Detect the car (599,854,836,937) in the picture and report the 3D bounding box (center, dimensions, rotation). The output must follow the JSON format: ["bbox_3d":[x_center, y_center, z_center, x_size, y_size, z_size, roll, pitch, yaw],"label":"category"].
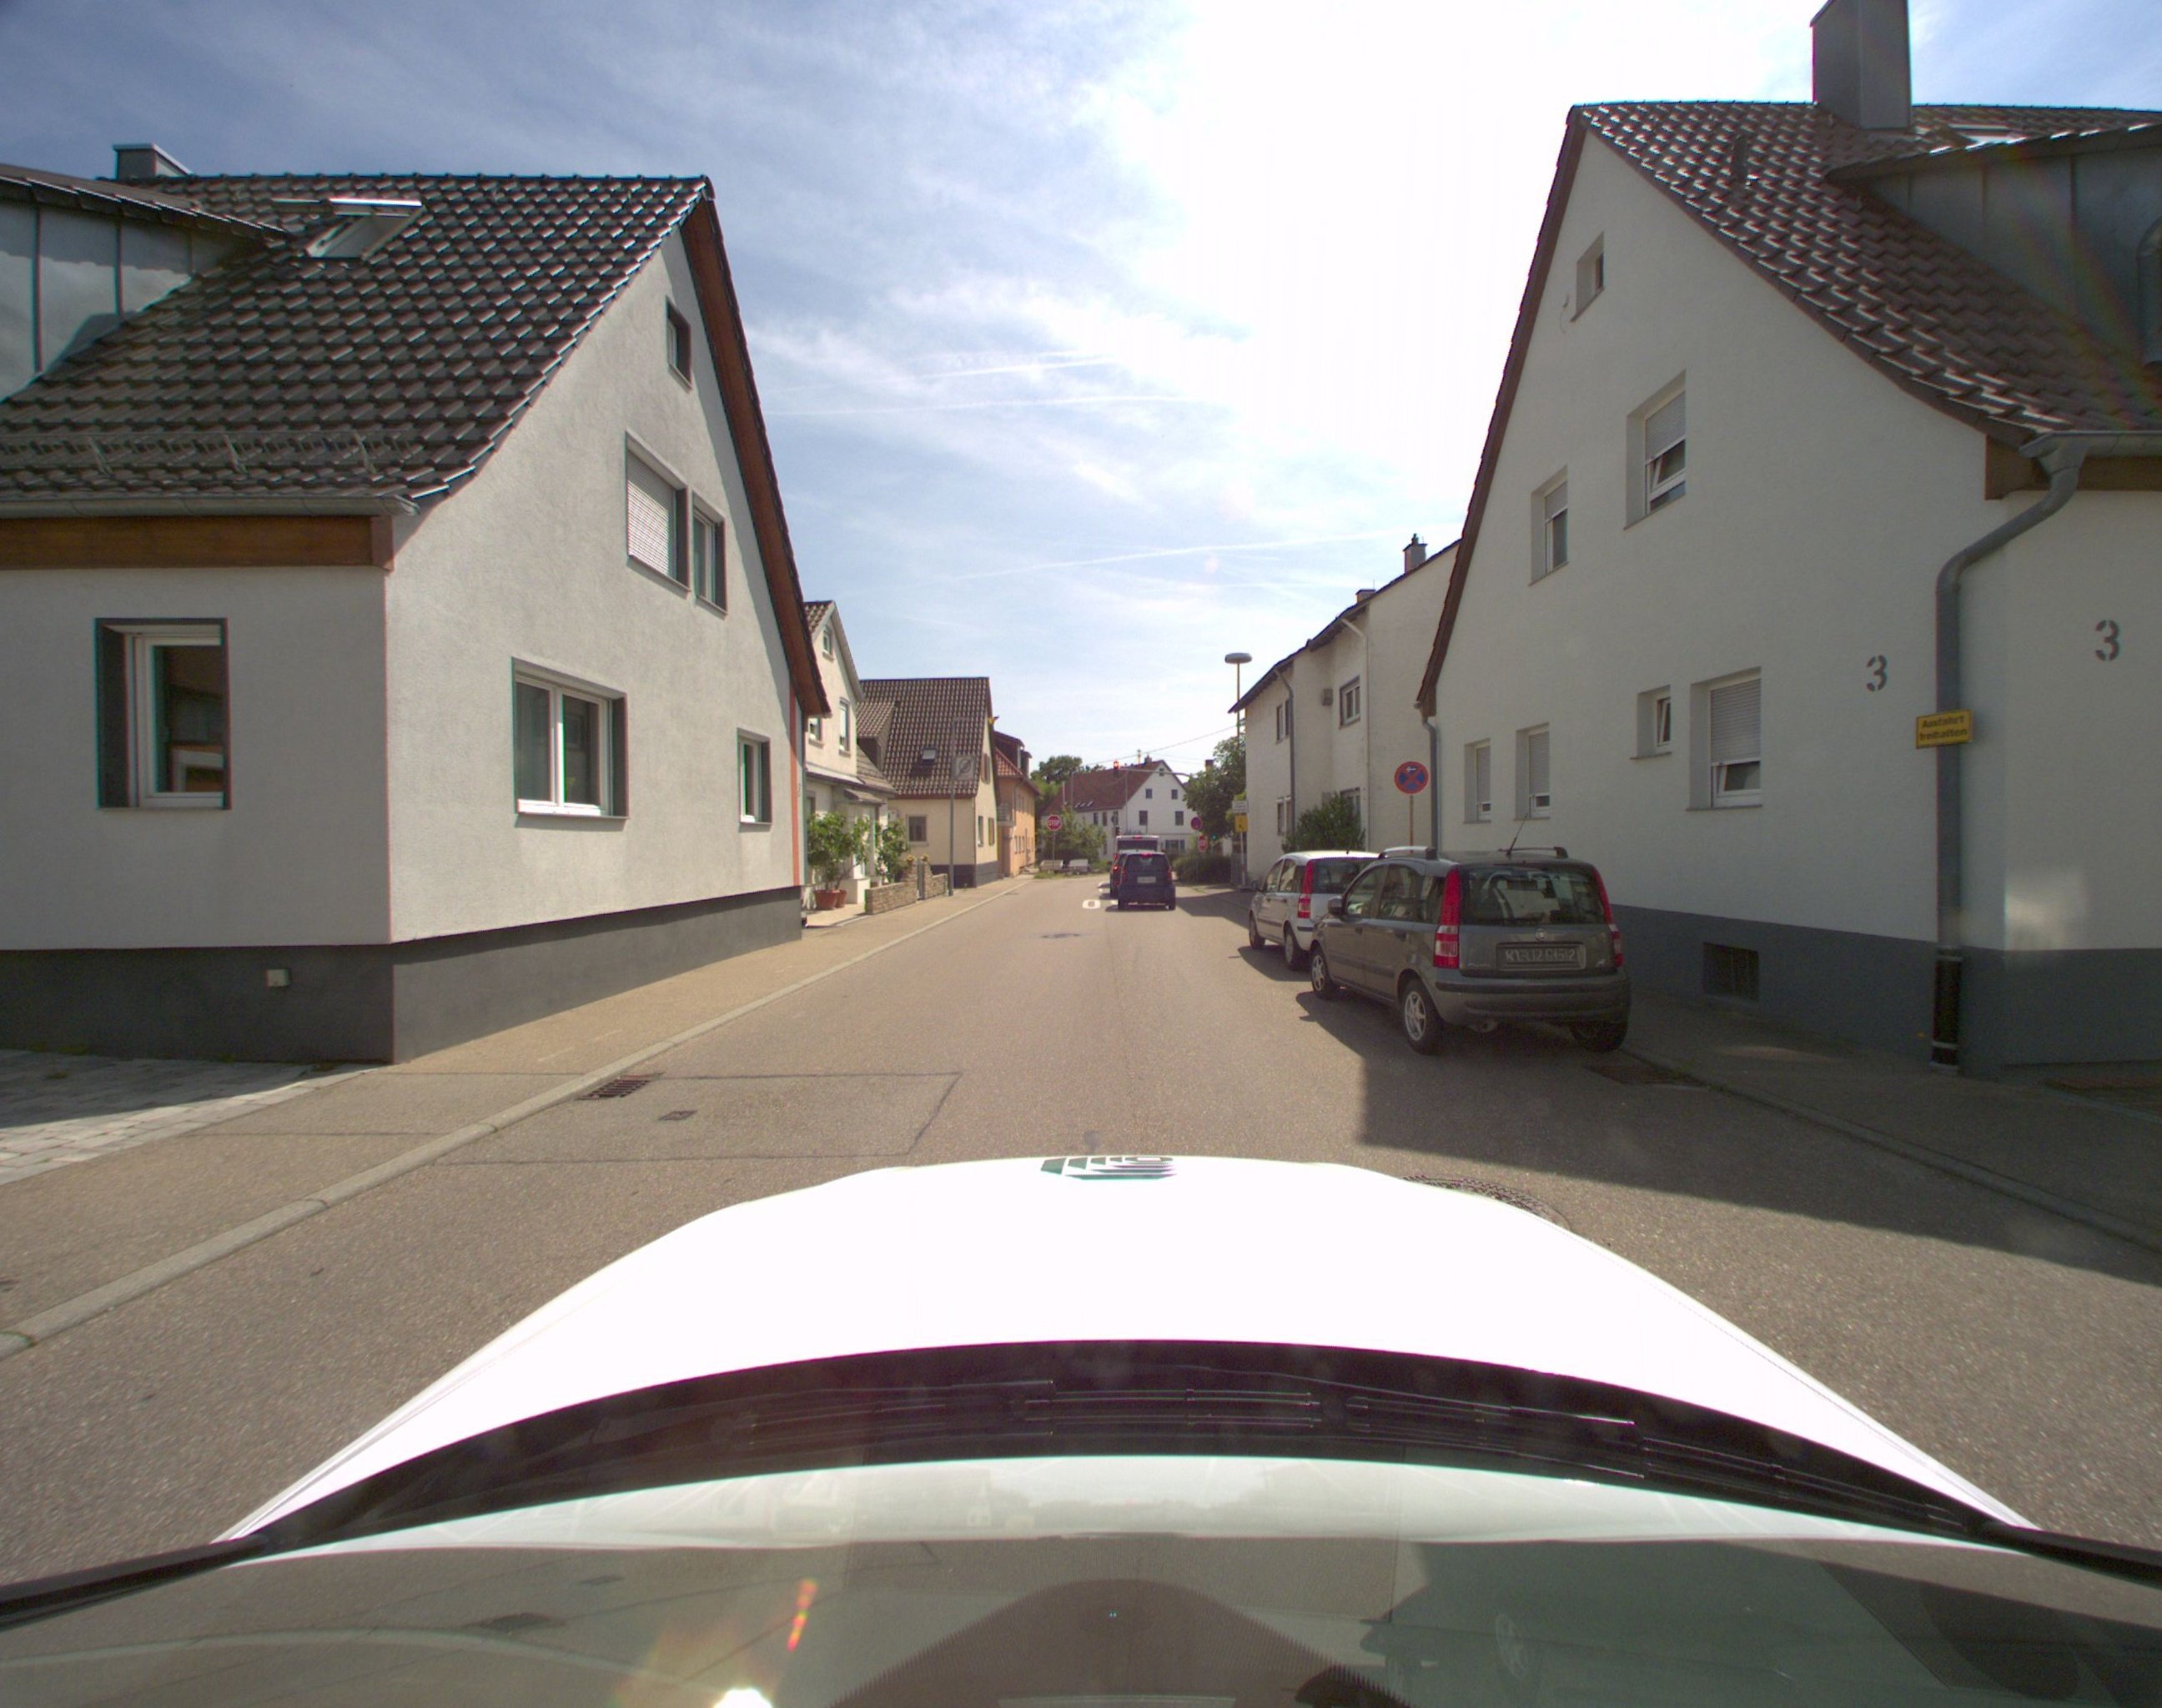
[{"bbox_3d":[-6.988,0.772,15.907,3.820,1.481,1.704,-1,0,3],"label":"car"}]

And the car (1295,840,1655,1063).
[{"bbox_3d":[3.204,0.672,7.403,1.563,1.545,3.447,0,0,-1],"label":"car"}]

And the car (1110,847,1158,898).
[{"bbox_3d":[1.816,0.586,27.681,1.509,1.624,3.188,-1,0,4],"label":"car"}]

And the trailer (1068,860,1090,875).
[{"bbox_3d":[-0.124,0.851,52.264,1.305,0.970,0.934,-1,0,2],"label":"trailer"}]

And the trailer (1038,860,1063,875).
[{"bbox_3d":[-1.939,0.857,52.440,1.496,0.927,1.013,1,0,2],"label":"trailer"}]

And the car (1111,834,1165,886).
[{"bbox_3d":[2.635,0.259,36.652,2.117,2.158,4.745,-1,0,7],"label":"car"}]

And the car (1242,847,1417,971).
[{"bbox_3d":[3.376,0.672,11.661,1.493,1.513,3.361,0,0,0],"label":"car"}]

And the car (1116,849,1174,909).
[{"bbox_3d":[1.790,0.643,22.753,1.509,1.567,3.188,0,0,4],"label":"car"}]
